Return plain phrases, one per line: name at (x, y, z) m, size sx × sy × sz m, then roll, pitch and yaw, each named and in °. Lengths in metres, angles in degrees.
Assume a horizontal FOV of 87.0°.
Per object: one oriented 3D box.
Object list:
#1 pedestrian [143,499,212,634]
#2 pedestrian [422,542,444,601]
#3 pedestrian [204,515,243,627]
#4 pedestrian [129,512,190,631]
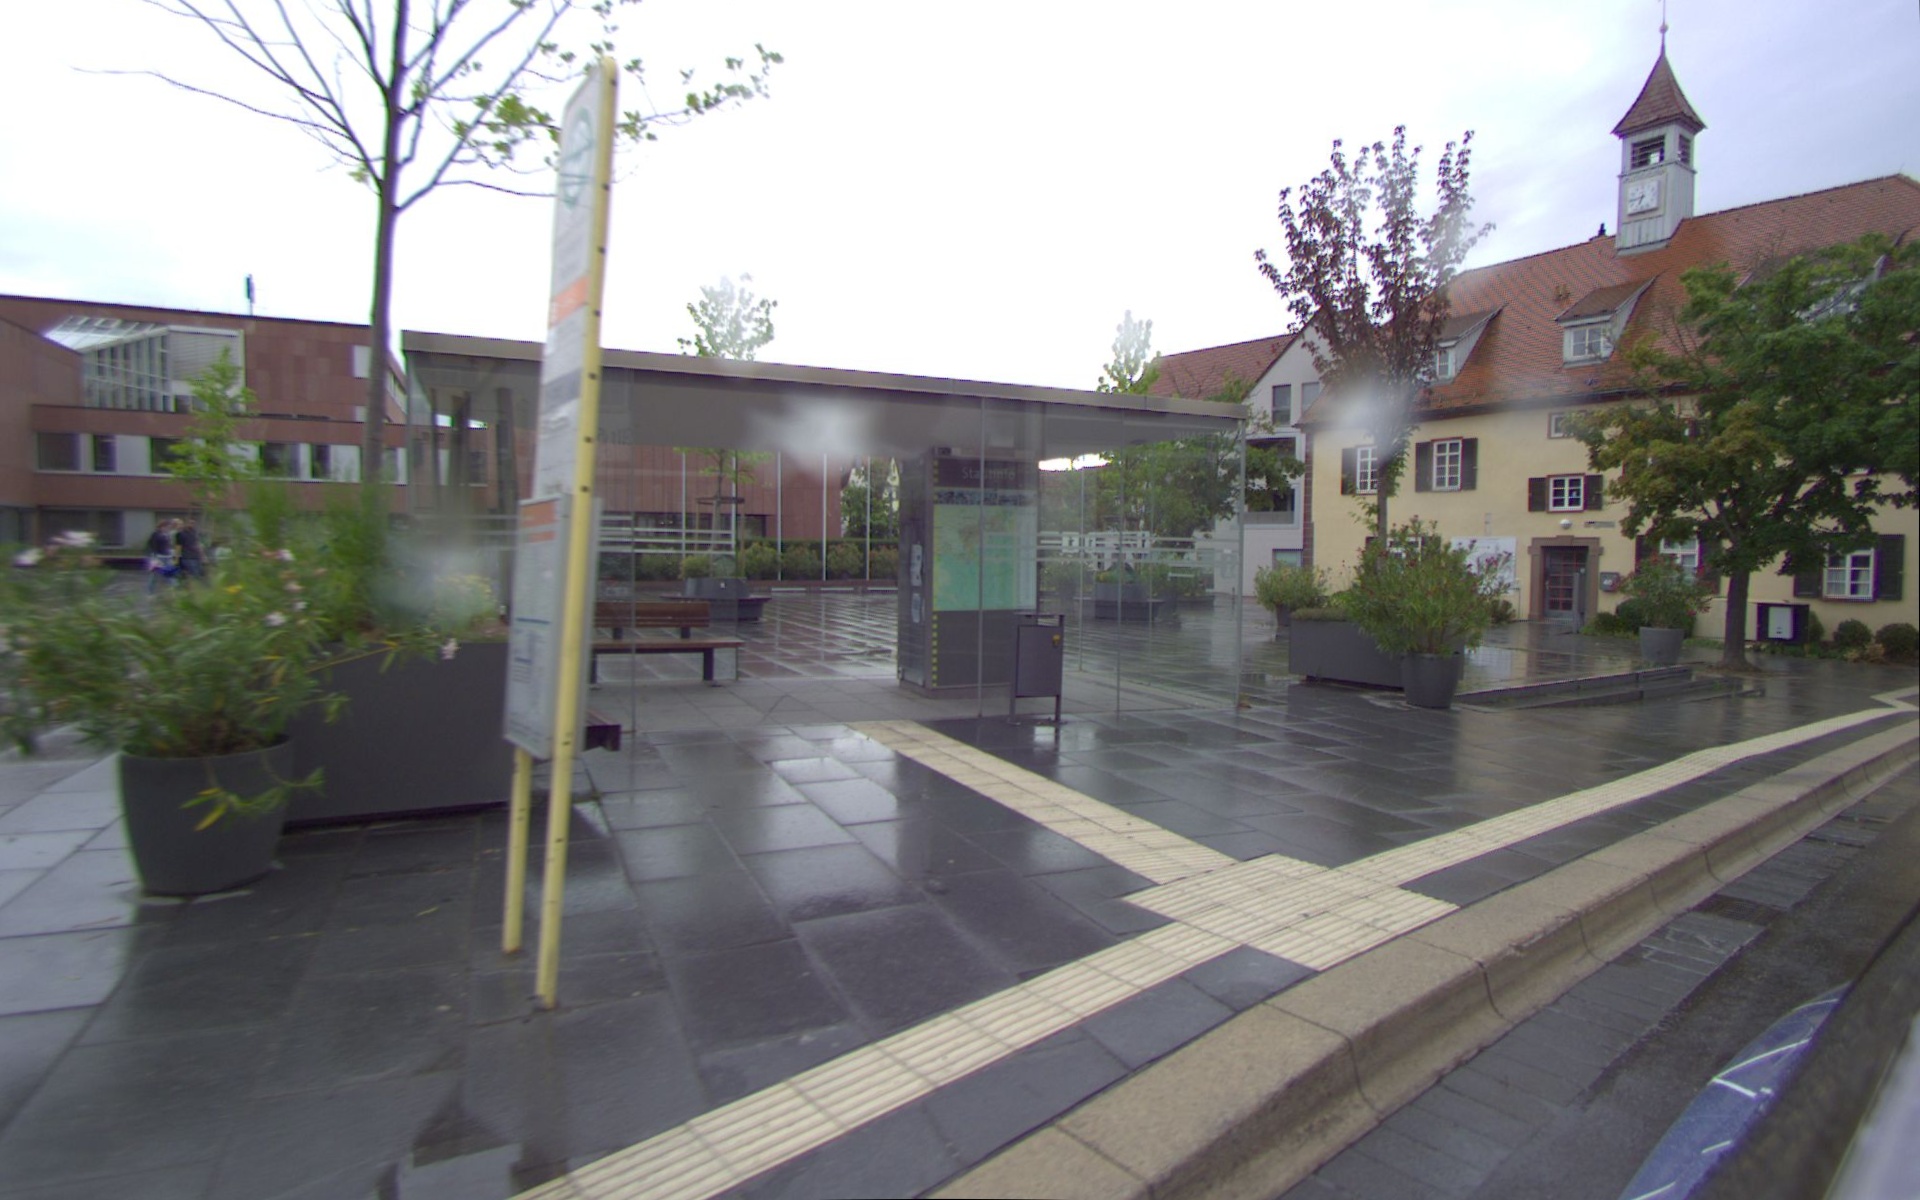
pedestrian at (-16.189, -0.694, 20.966) m, size 0.814 × 2.716 × 1.060 m, roll 1°, pitch 3°, yaw -20°
pedestrian at (-21.180, -1.148, 40.660) m, size 0.783 × 2.336 × 0.905 m, roll 0°, pitch 3°, yaw -28°
pedestrian at (-16.504, -0.659, 22.700) m, size 0.557 × 2.468 × 0.738 m, roll 0°, pitch 3°, yaw -24°
pedestrian at (-17.130, -0.620, 21.680) m, size 0.760 × 2.468 × 0.946 m, roll 0°, pitch 3°, yaw -22°
